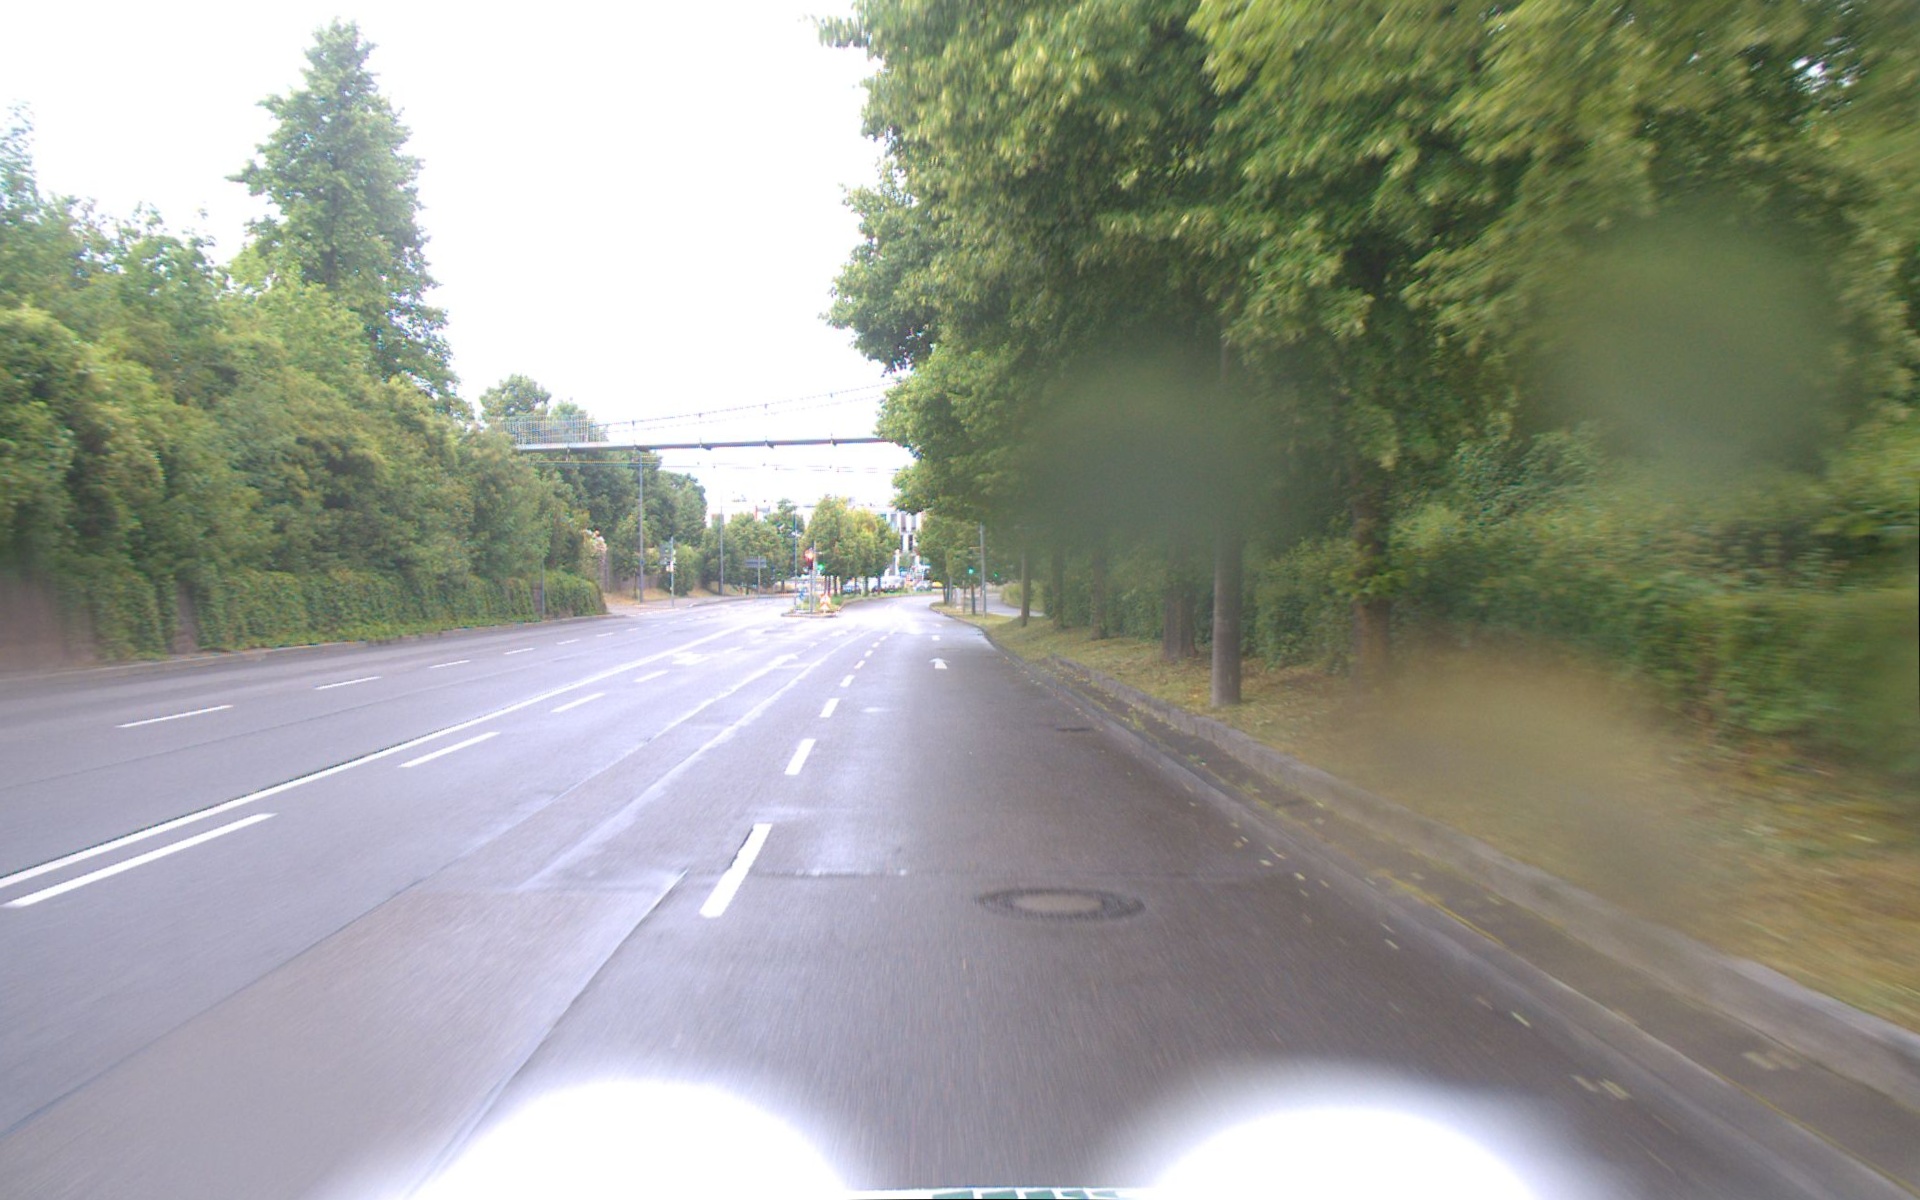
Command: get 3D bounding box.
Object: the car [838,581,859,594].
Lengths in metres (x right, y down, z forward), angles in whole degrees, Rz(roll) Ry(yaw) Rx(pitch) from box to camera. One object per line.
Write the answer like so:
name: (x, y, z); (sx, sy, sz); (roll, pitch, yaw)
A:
car: (-13.042, -1.460, 194.073); (1.564, 1.515, 4.003); (1, 1, 8)

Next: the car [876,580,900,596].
car: (-8.889, -1.518, 204.809); (1.970, 1.952, 5.099); (1, 0, 9)

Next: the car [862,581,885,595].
car: (-10.916, -1.481, 208.931); (1.841, 1.623, 4.771); (2, 0, 11)
